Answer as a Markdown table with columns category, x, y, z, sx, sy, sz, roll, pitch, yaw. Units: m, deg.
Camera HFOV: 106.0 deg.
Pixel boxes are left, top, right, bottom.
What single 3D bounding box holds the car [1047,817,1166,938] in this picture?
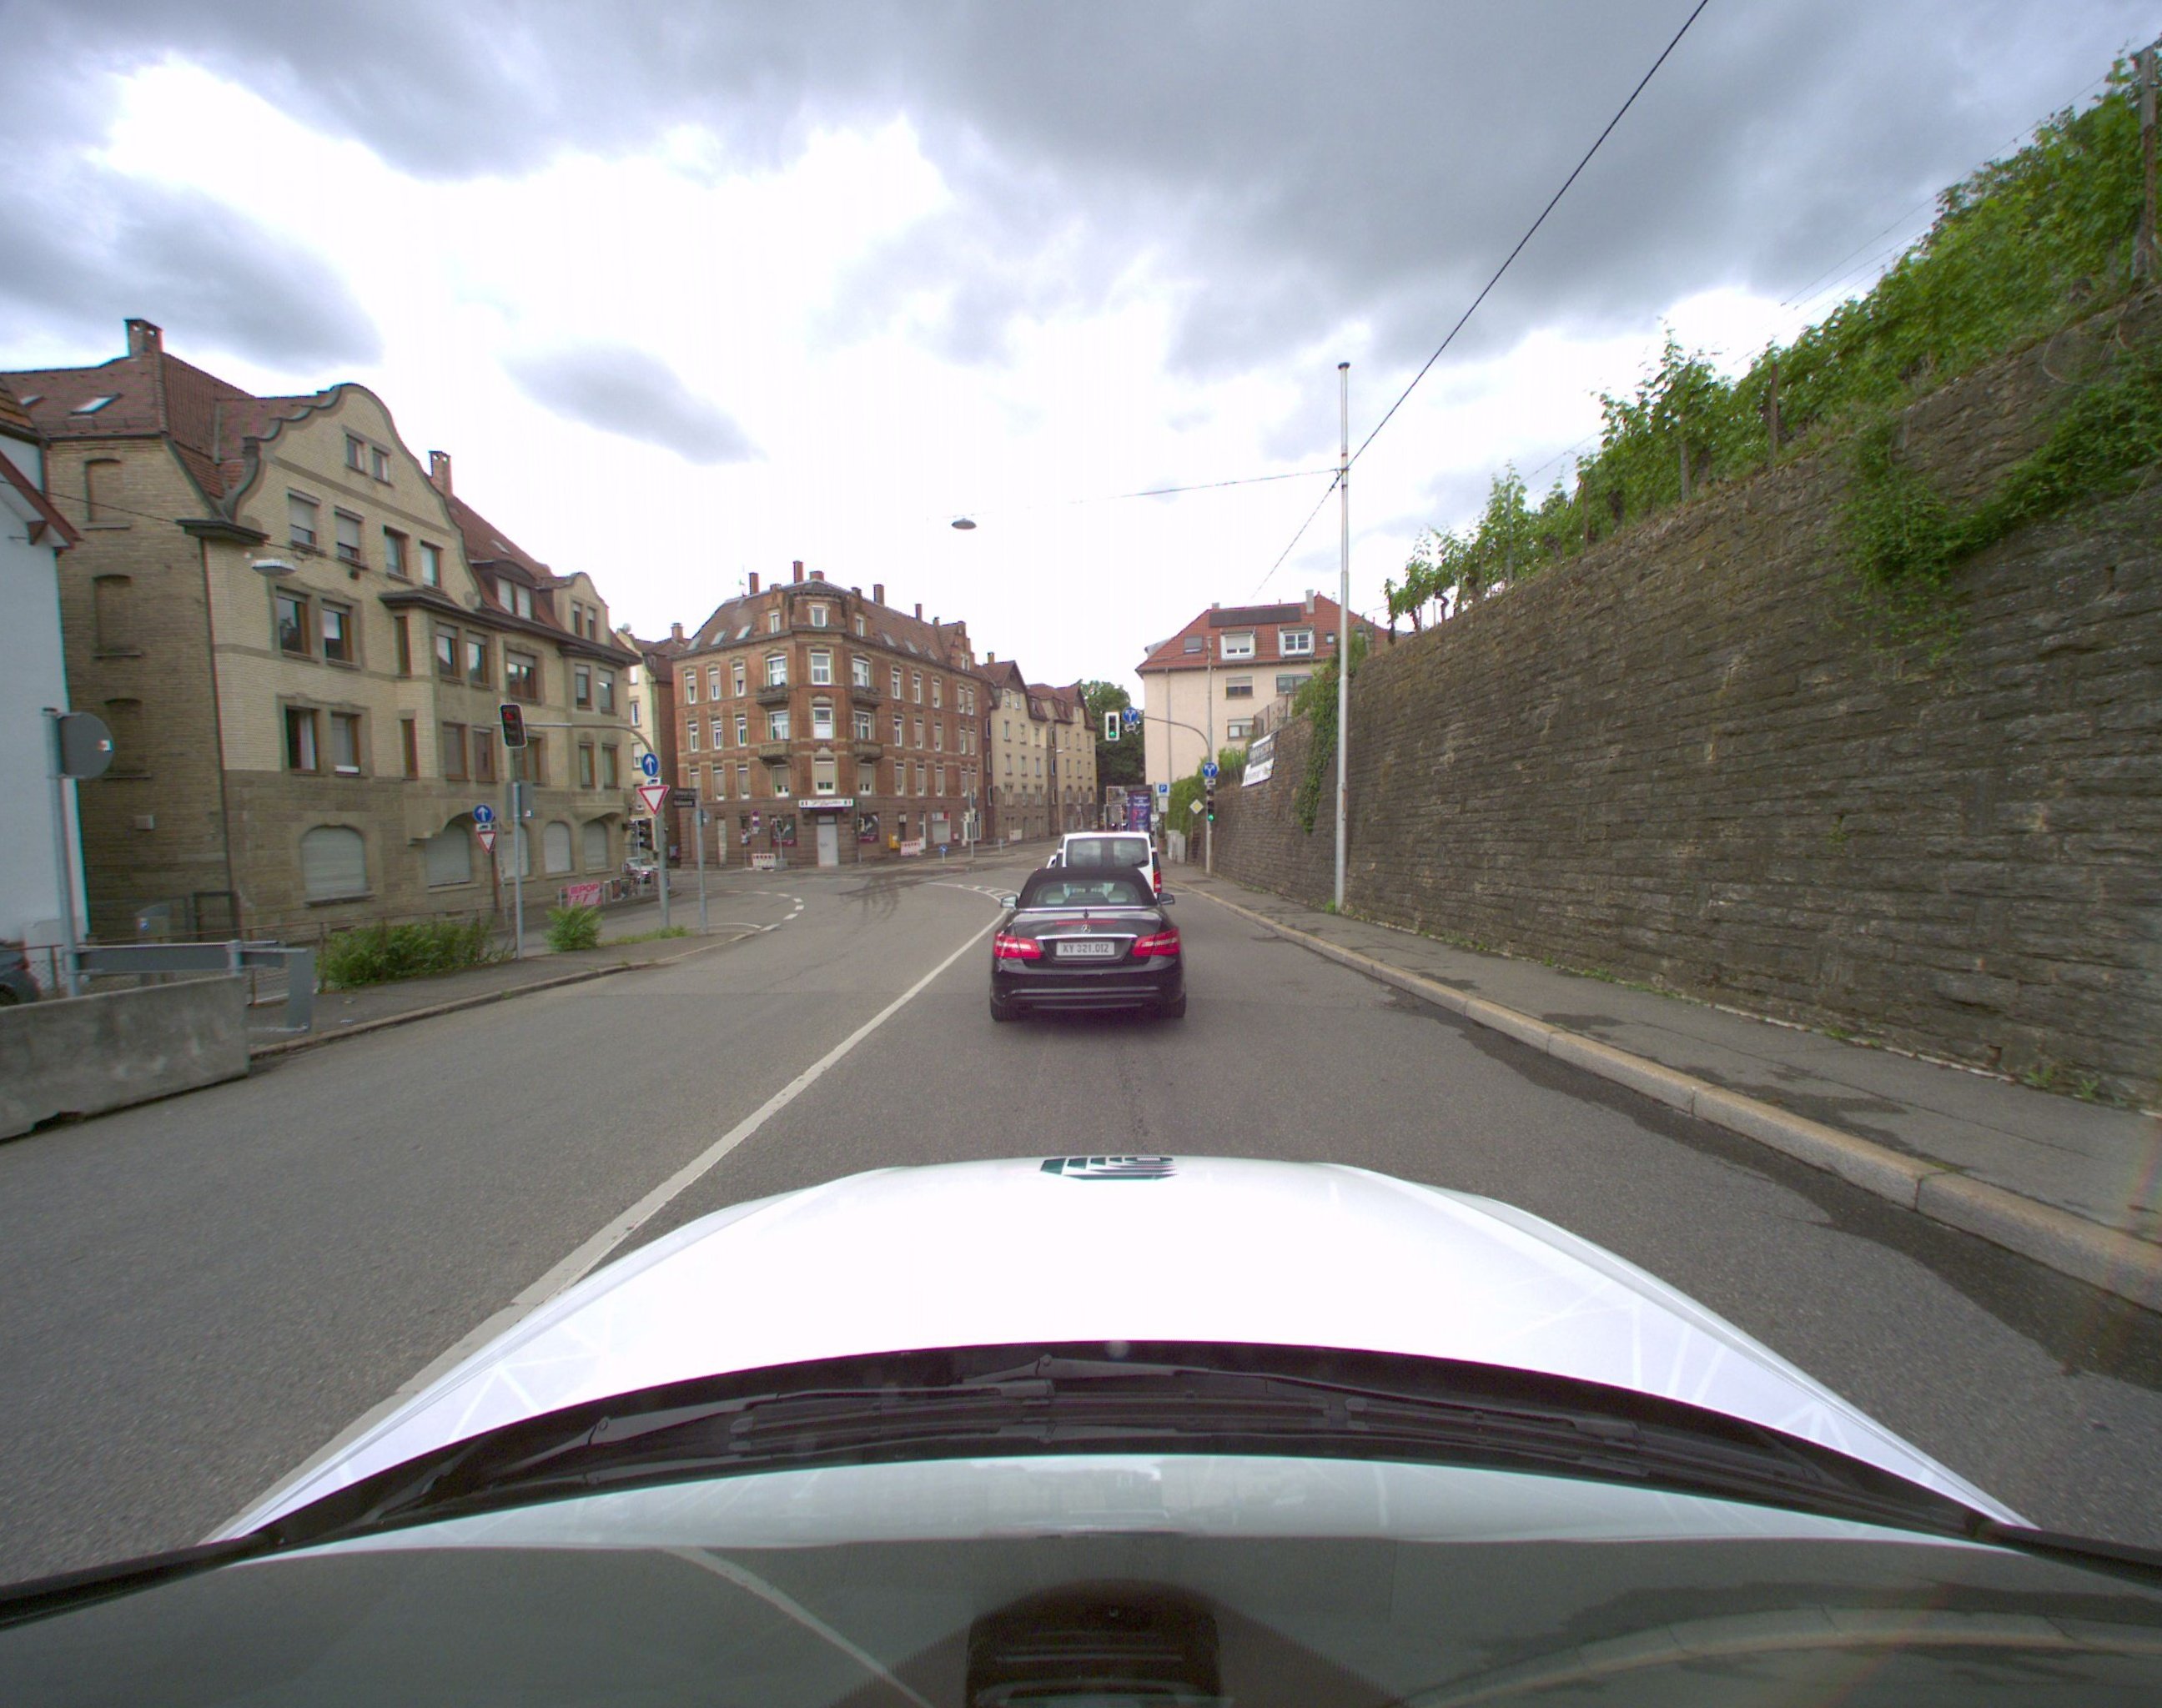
| category | x | y | z | sx | sy | sz | roll | pitch | yaw |
| --- | --- | --- | --- | --- | --- | --- | --- | --- | --- |
| car | 0.491 | 0.351 | 15.527 | 1.884 | 1.928 | 4.647 | -1 | 1 | 2 |

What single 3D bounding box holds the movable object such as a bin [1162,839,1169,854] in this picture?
| category | x | y | z | sx | sy | sz | roll | pitch | yaw |
| --- | --- | --- | --- | --- | --- | --- | --- | --- | --- |
| movable object such as a bin | 5.226 | -0.446 | 50.400 | 0.343 | 0.911 | 0.494 | -2 | 0 | -4 |

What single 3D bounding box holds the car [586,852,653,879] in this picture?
| category | x | y | z | sx | sy | sz | roll | pitch | yaw |
| --- | --- | --- | --- | --- | --- | --- | --- | --- | --- |
| car | -26.458 | 0.649 | 46.675 | 3.597 | 1.467 | 1.685 | -1 | 1 | 29 |

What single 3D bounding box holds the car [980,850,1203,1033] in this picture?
| category | x | y | z | sx | sy | sz | roll | pitch | yaw |
| --- | --- | --- | --- | --- | --- | --- | --- | --- | --- |
| car | 0.154 | 0.696 | 8.732 | 1.755 | 1.409 | 4.401 | -1 | 1 | 2 |

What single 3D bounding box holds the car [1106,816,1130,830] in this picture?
| category | x | y | z | sx | sy | sz | roll | pitch | yaw |
| --- | --- | --- | --- | --- | --- | --- | --- | --- | --- |
| car | 4.551 | -3.761 | 98.991 | 1.979 | 1.514 | 4.304 | -2 | 3 | 14 |

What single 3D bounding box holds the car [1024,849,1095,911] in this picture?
| category | x | y | z | sx | sy | sz | roll | pitch | yaw |
| --- | --- | --- | --- | --- | --- | --- | --- | --- | --- |
| car | -0.497 | 0.634 | 22.111 | 1.674 | 1.466 | 3.920 | -1 | 1 | 2 |

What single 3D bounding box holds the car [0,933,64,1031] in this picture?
| category | x | y | z | sx | sy | sz | roll | pitch | yaw |
| --- | --- | --- | --- | --- | --- | --- | --- | --- | --- |
| car | -19.080 | 2.266 | 12.414 | 1.676 | 1.555 | 4.235 | -4 | 0 | 1 |
